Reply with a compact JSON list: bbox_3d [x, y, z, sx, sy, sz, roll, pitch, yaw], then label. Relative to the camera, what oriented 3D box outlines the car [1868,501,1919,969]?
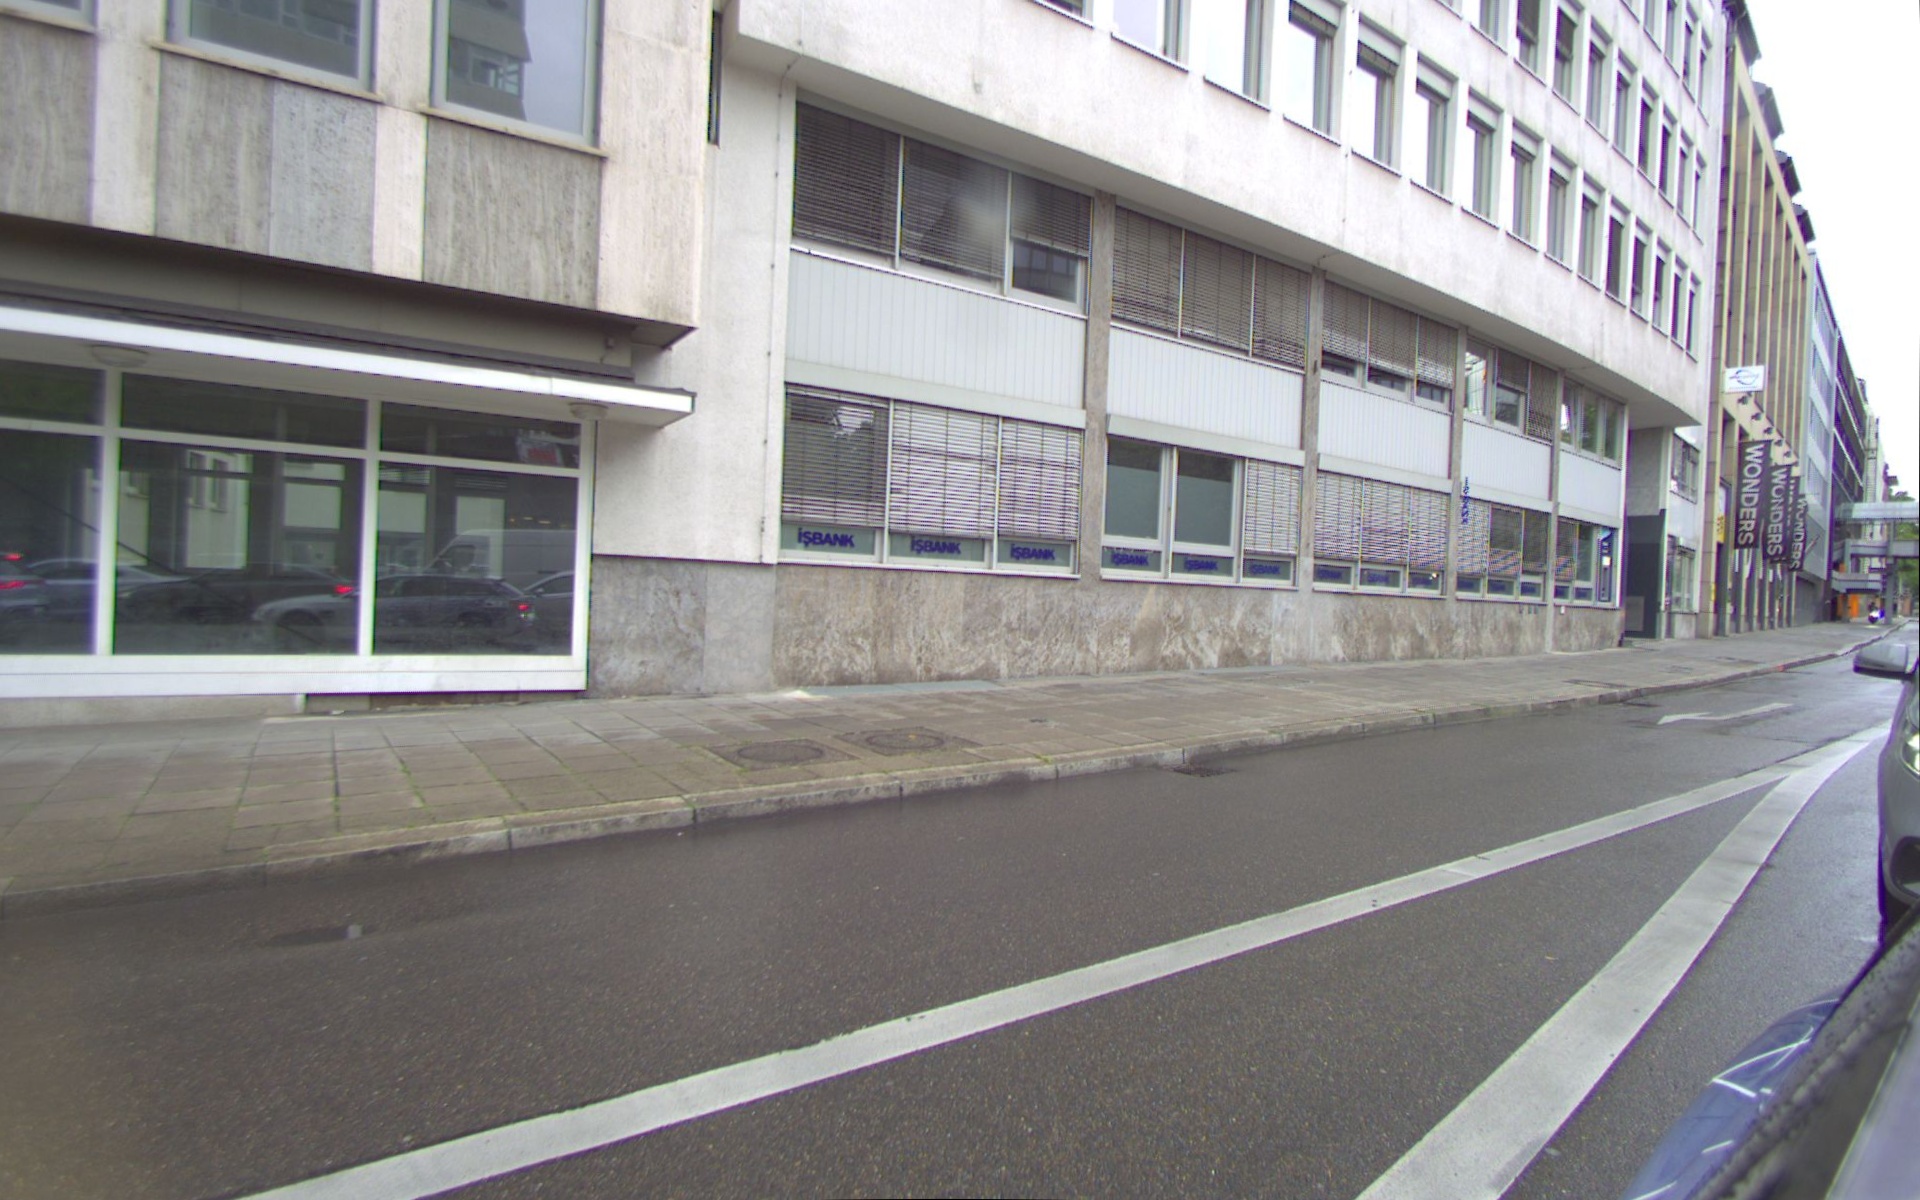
[{"bbox_3d":[6.216,0.555,5.125,4.940,1.879,1.914,0,0,-42],"label":"car"}]
